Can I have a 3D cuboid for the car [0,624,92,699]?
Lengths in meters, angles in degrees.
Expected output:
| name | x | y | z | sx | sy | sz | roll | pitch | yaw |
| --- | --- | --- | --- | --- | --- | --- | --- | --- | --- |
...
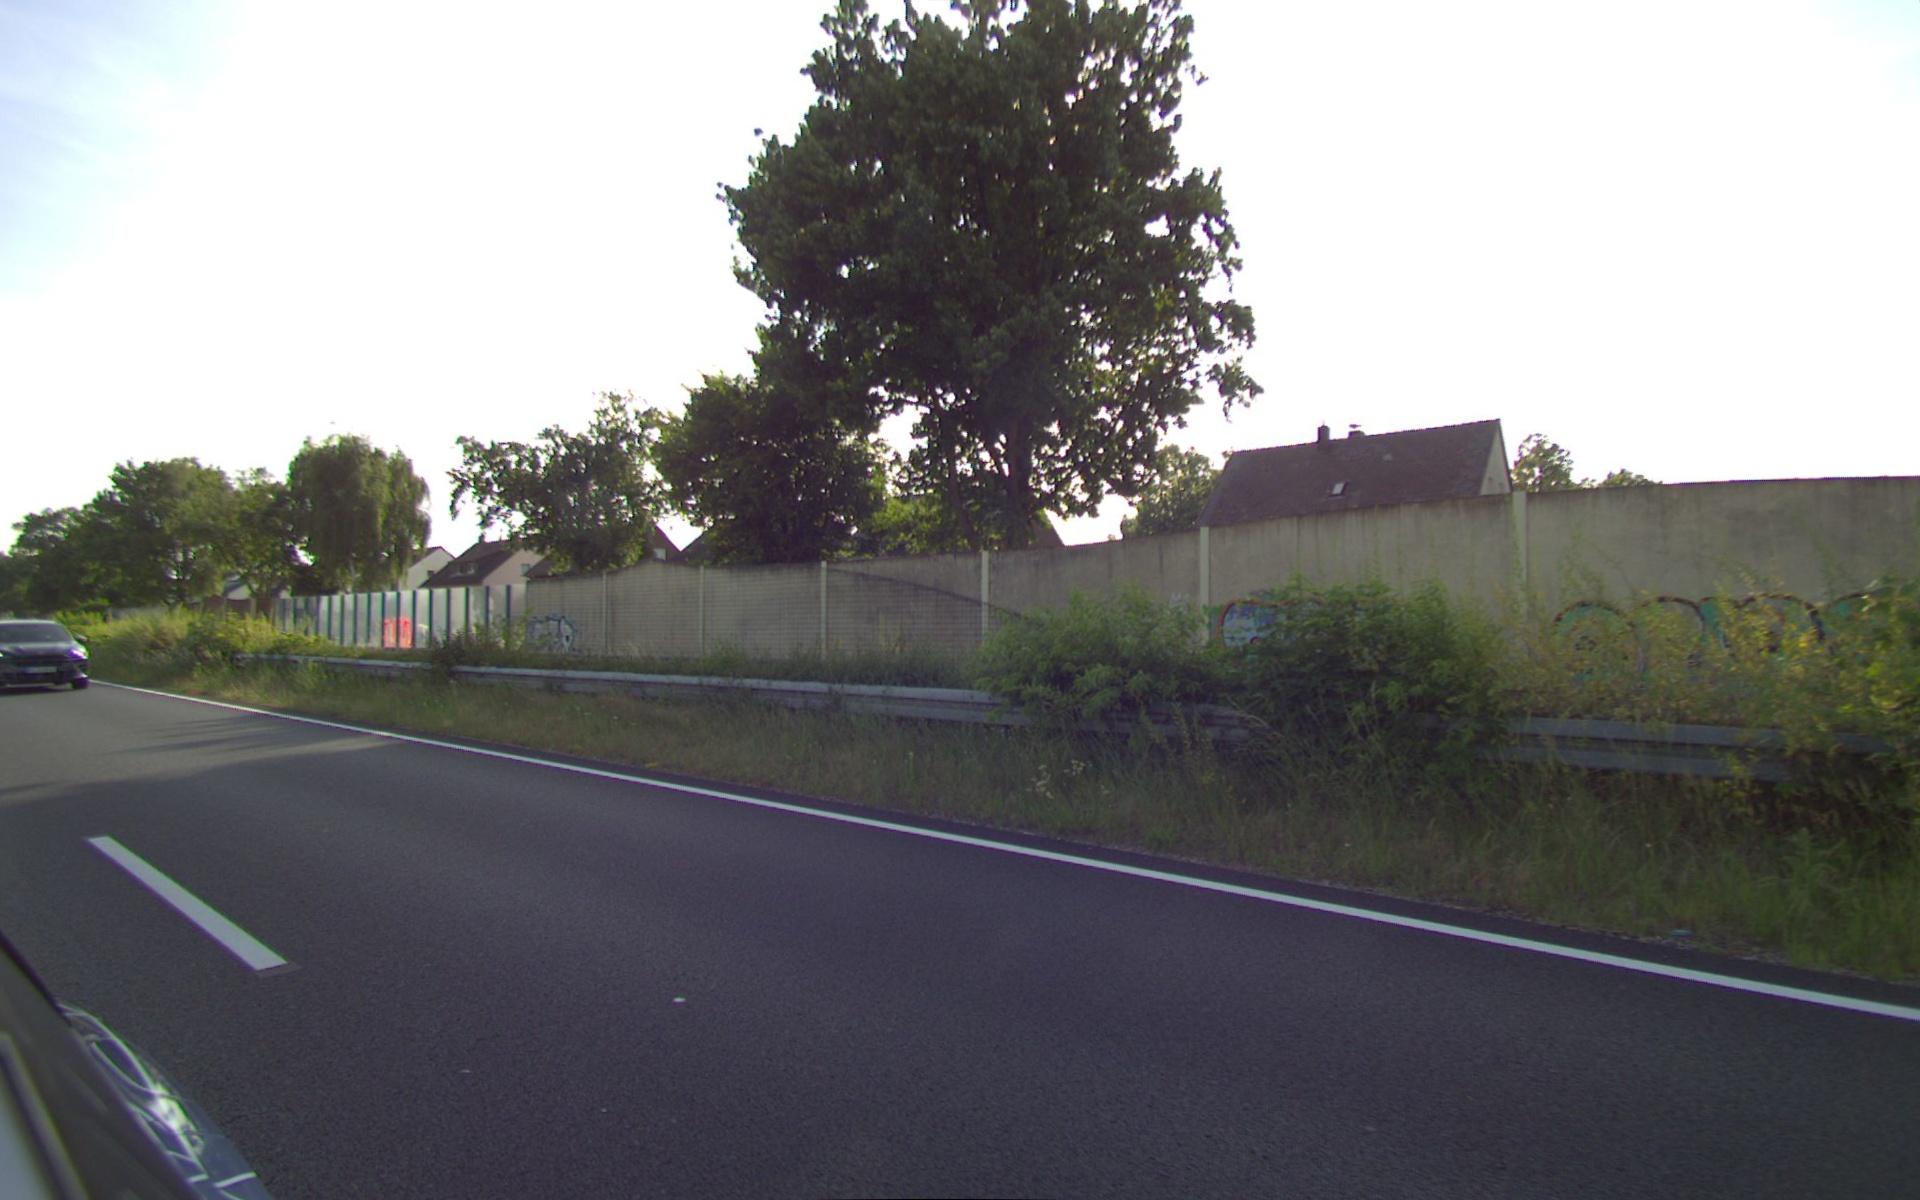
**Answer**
| name | x | y | z | sx | sy | sz | roll | pitch | yaw |
| --- | --- | --- | --- | --- | --- | --- | --- | --- | --- |
| car | -21.516 | 1.344 | 23.253 | 4.244 | 1.536 | 1.798 | -1 | 0 | 41 |
